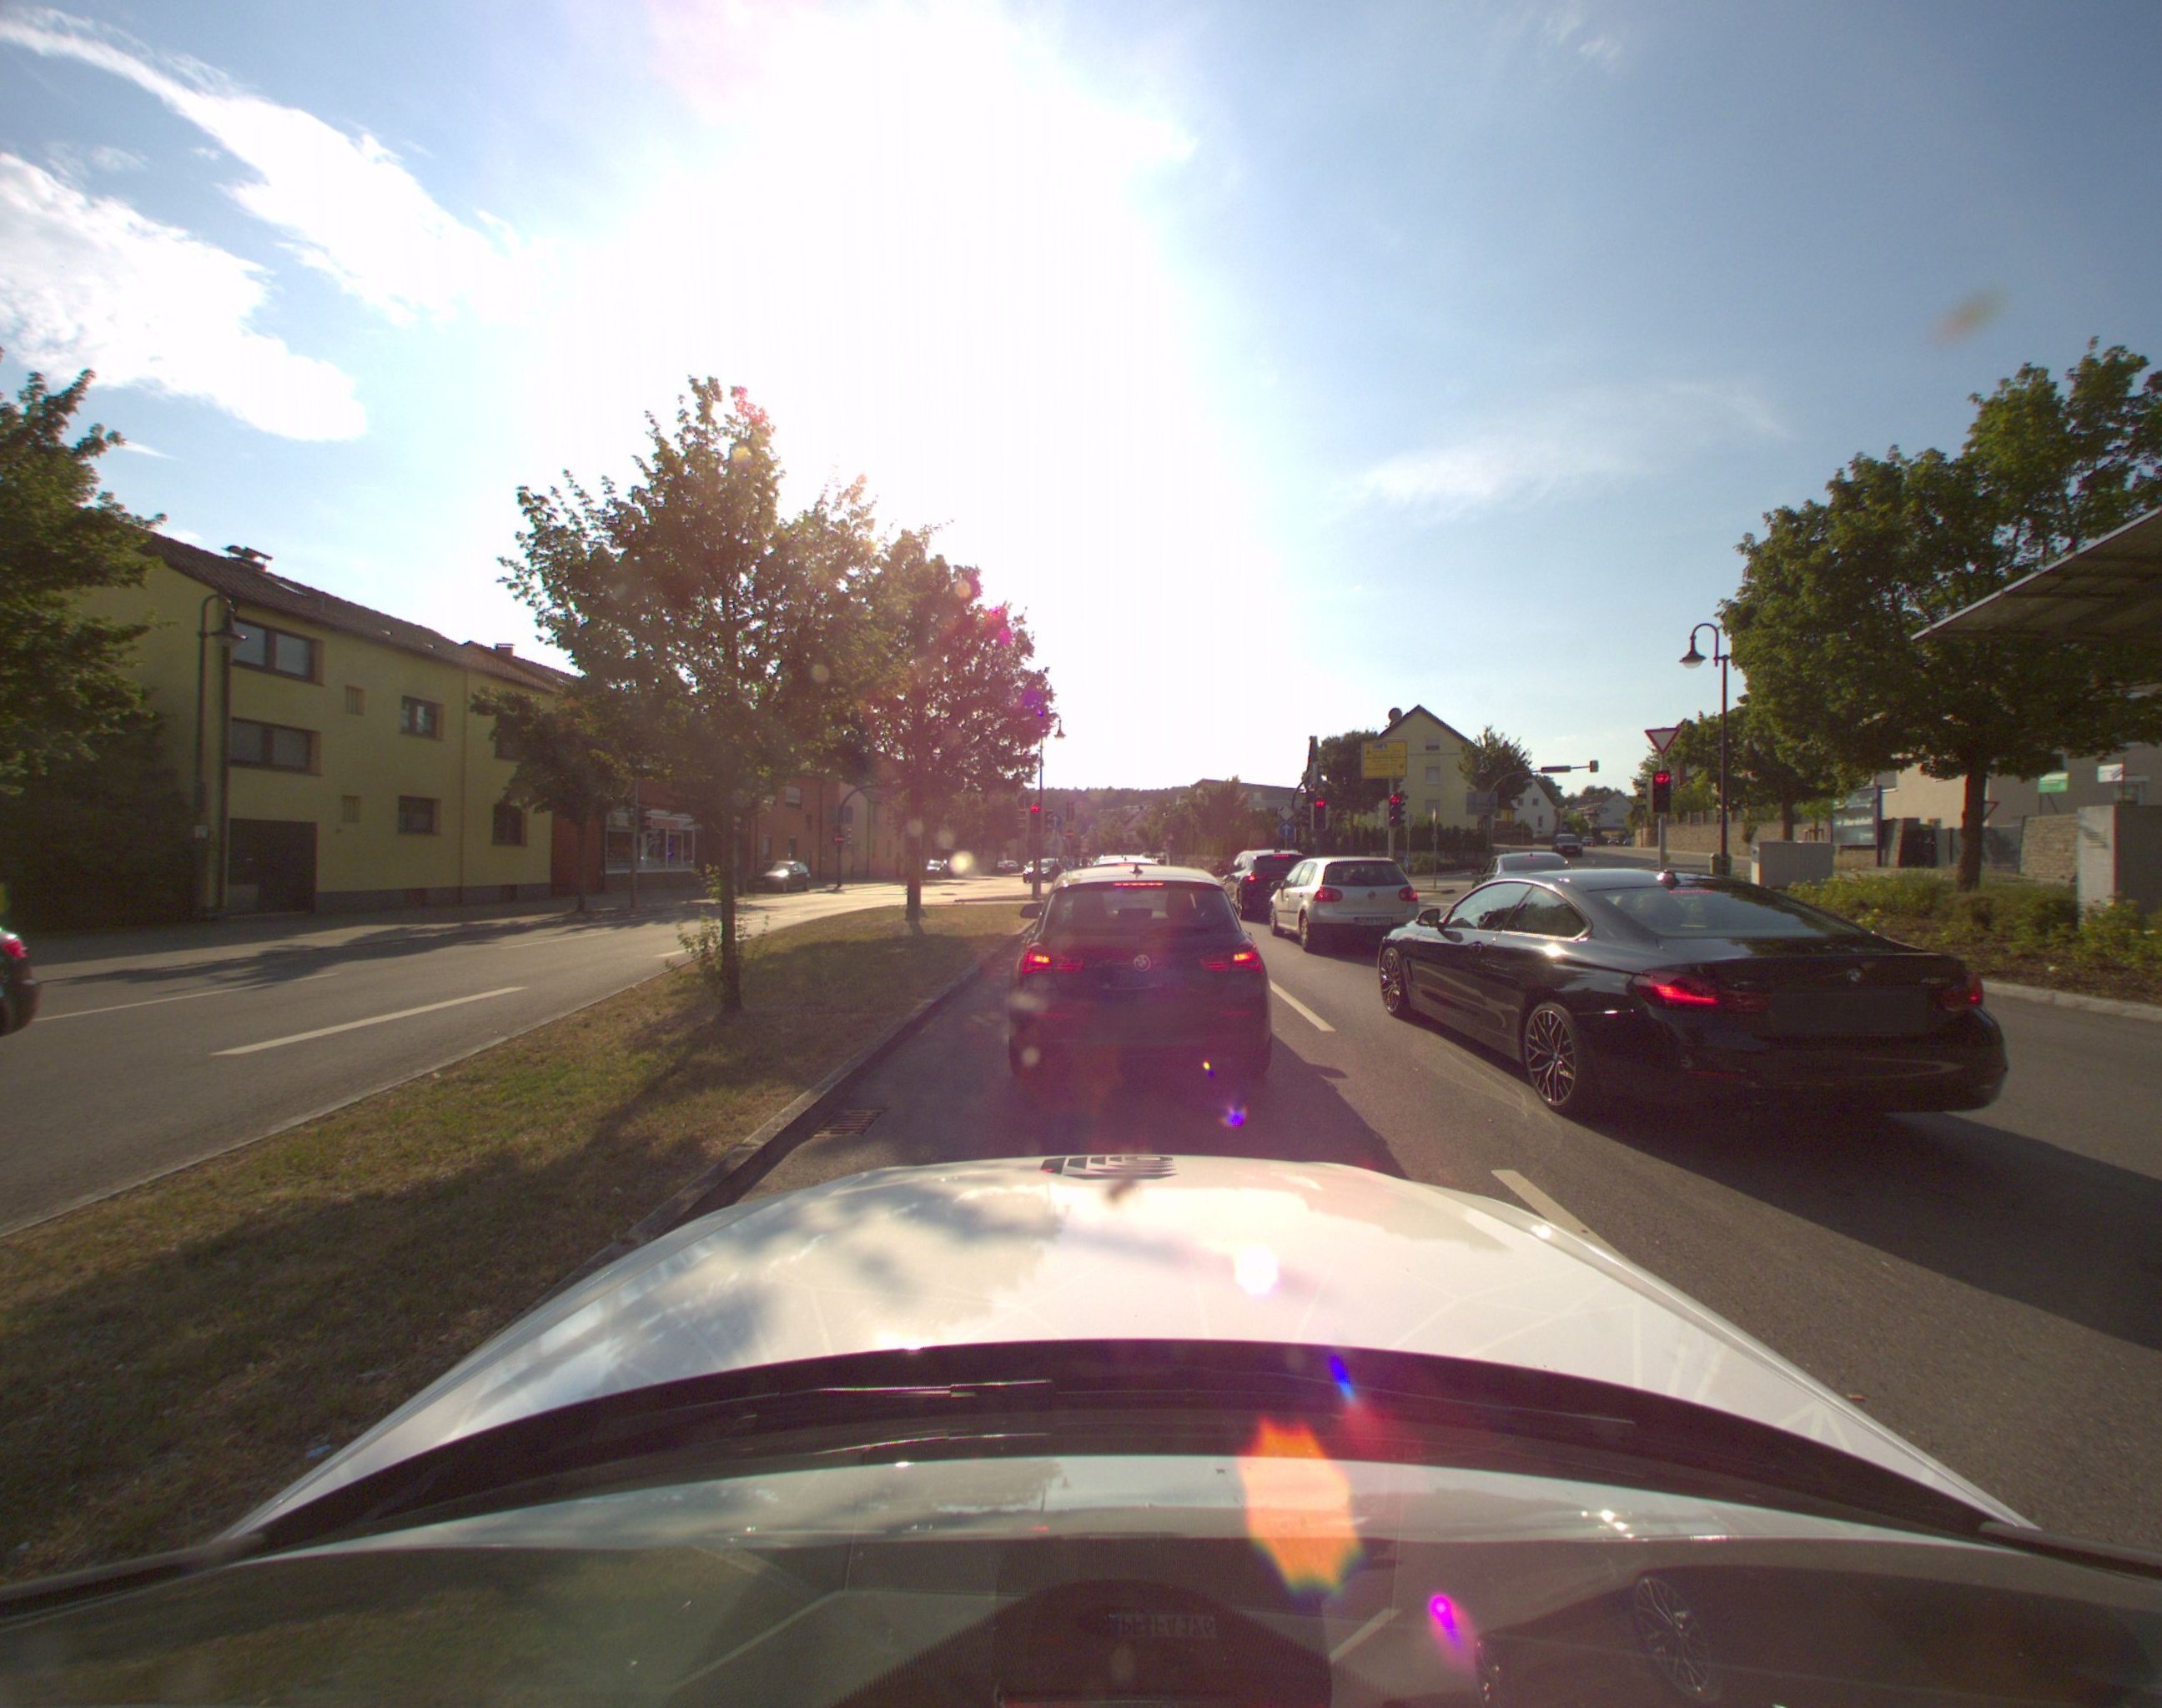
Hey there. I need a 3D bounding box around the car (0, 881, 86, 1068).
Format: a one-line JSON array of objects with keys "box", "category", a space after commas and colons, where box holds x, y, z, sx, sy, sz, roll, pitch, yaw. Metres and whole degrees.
[{"box": [-8.928, 0.912, 4.525, 1.639, 1.386, 4.189, 0, 0, 0], "category": "car"}]

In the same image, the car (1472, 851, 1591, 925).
[{"box": [9.861, 0.657, 18.147, 1.667, 1.435, 4.613, -1, 0, 21], "category": "car"}]

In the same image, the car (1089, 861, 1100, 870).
[{"box": [2.591, 2.222, 153.019, 1.917, 1.596, 4.002, 0, 0, 2], "category": "car"}]

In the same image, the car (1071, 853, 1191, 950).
[{"box": [0.881, 0.727, 14.418, 1.808, 1.451, 4.245, -1, 0, 3], "category": "car"}]

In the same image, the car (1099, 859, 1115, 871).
[{"box": [3.733, 1.538, 116.612, 1.887, 1.702, 4.518, -2, 0, -4], "category": "car"}]

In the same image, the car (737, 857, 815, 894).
[{"box": [-14.145, 0.973, 38.014, 1.834, 1.552, 4.005, 2, 0, 5], "category": "car"}]

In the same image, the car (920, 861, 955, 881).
[{"box": [-11.788, 1.375, 67.188, 1.916, 1.596, 4.004, 0, 0, 4], "category": "car"}]

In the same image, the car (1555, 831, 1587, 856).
[{"box": [35.862, -0.788, 59.667, 1.769, 1.507, 4.096, -3, 2, 29], "category": "car"}]

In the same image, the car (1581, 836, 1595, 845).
[{"box": [74.508, -1.989, 119.657, 1.694, 1.244, 4.025, 0, 1, 31], "category": "car"}]

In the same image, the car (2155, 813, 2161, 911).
[{"box": [19.564, 0.119, 12.168, 3.958, 1.608, 1.861, 0, 0, 14], "category": "car"}]

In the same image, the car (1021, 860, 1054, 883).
[{"box": [-2.862, 1.165, 54.768, 1.759, 1.458, 4.004, 0, 0, 4], "category": "car"}]

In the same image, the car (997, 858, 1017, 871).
[{"box": [-9.306, 1.360, 103.211, 1.916, 1.596, 4.004, 0, 0, 4], "category": "car"}]

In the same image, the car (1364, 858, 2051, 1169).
[{"box": [3.600, 0.738, 5.891, 1.808, 1.388, 4.351, -1, 0, 3], "category": "car"}]

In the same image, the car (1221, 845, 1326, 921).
[{"box": [4.621, 0.648, 20.203, 1.808, 1.666, 4.351, -1, 0, 3], "category": "car"}]

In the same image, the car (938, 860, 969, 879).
[{"box": [-11.371, 1.335, 72.867, 1.916, 1.596, 4.004, 0, 0, 4], "category": "car"}]

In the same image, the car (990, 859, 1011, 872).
[{"box": [-9.613, 1.353, 97.709, 1.916, 1.596, 4.004, 0, 0, 4], "category": "car"}]

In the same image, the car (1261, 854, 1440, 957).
[{"box": [4.297, 0.731, 13.720, 1.808, 1.446, 4.351, -1, 0, 3], "category": "car"}]

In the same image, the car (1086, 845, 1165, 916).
[{"box": [1.165, 0.623, 21.042, 1.808, 1.641, 4.245, -1, 0, 3], "category": "car"}]

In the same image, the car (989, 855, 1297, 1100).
[{"box": [0.487, 0.728, 6.933, 1.783, 1.414, 4.351, -1, 0, 3], "category": "car"}]

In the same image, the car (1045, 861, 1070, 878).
[{"box": [-1.975, 1.319, 69.426, 1.685, 1.353, 4.004, 0, 0, 4], "category": "car"}]

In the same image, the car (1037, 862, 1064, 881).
[{"box": [-2.301, 1.310, 62.361, 1.685, 1.353, 4.004, 0, 0, 4], "category": "car"}]
